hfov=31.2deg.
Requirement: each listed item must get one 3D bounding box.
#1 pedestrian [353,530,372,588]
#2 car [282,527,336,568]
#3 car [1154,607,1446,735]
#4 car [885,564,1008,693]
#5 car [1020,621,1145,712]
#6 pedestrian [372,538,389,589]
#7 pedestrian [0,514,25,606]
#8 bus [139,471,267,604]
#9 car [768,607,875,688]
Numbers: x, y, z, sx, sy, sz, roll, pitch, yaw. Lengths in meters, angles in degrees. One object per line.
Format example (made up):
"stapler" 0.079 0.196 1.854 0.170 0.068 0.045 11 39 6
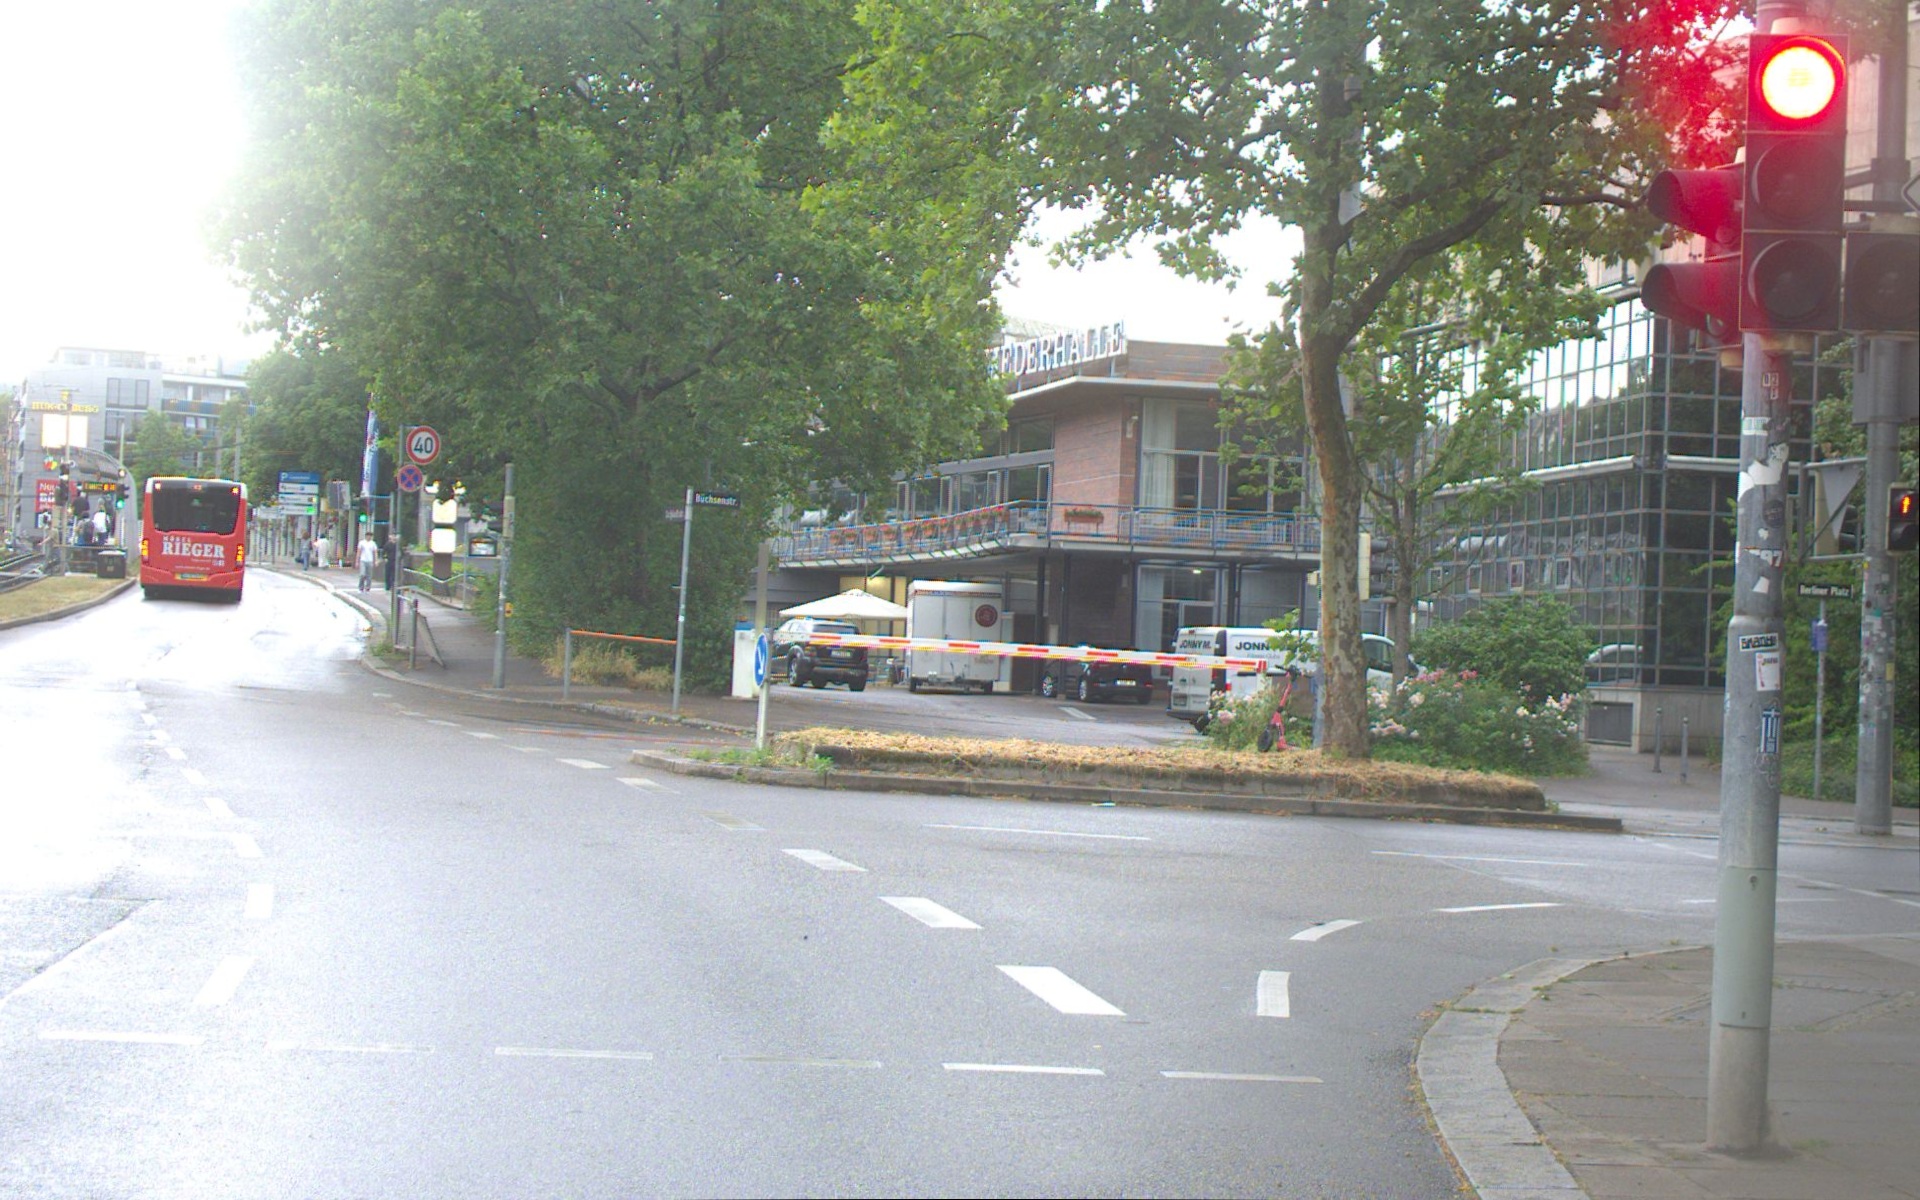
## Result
"pedestrian" -17.784 -1.212 102.297 0.371 1.702 0.644 3 0 -1
"car" -28.795 -2.307 151.995 1.993 1.678 4.001 4 -1 -14
"car" 6.132 1.284 62.059 4.745 1.937 2.001 4 -1 -22
"car" -0.398 0.728 90.423 2.544 3.123 5.032 4 -1 -6
"car" 2.985 1.618 84.443 1.993 2.007 4.001 4 -1 -13
"pedestrian" -17.276 -1.085 102.436 0.371 1.520 0.344 3 0 -1
"pedestrian" -17.378 -0.739 62.227 0.737 1.634 0.871 4 -1 -17
"bus" -19.662 -1.552 89.714 2.654 3.100 9.187 4 -1 -10
"car" -3.568 1.198 87.923 1.993 1.853 4.001 4 -1 -12
